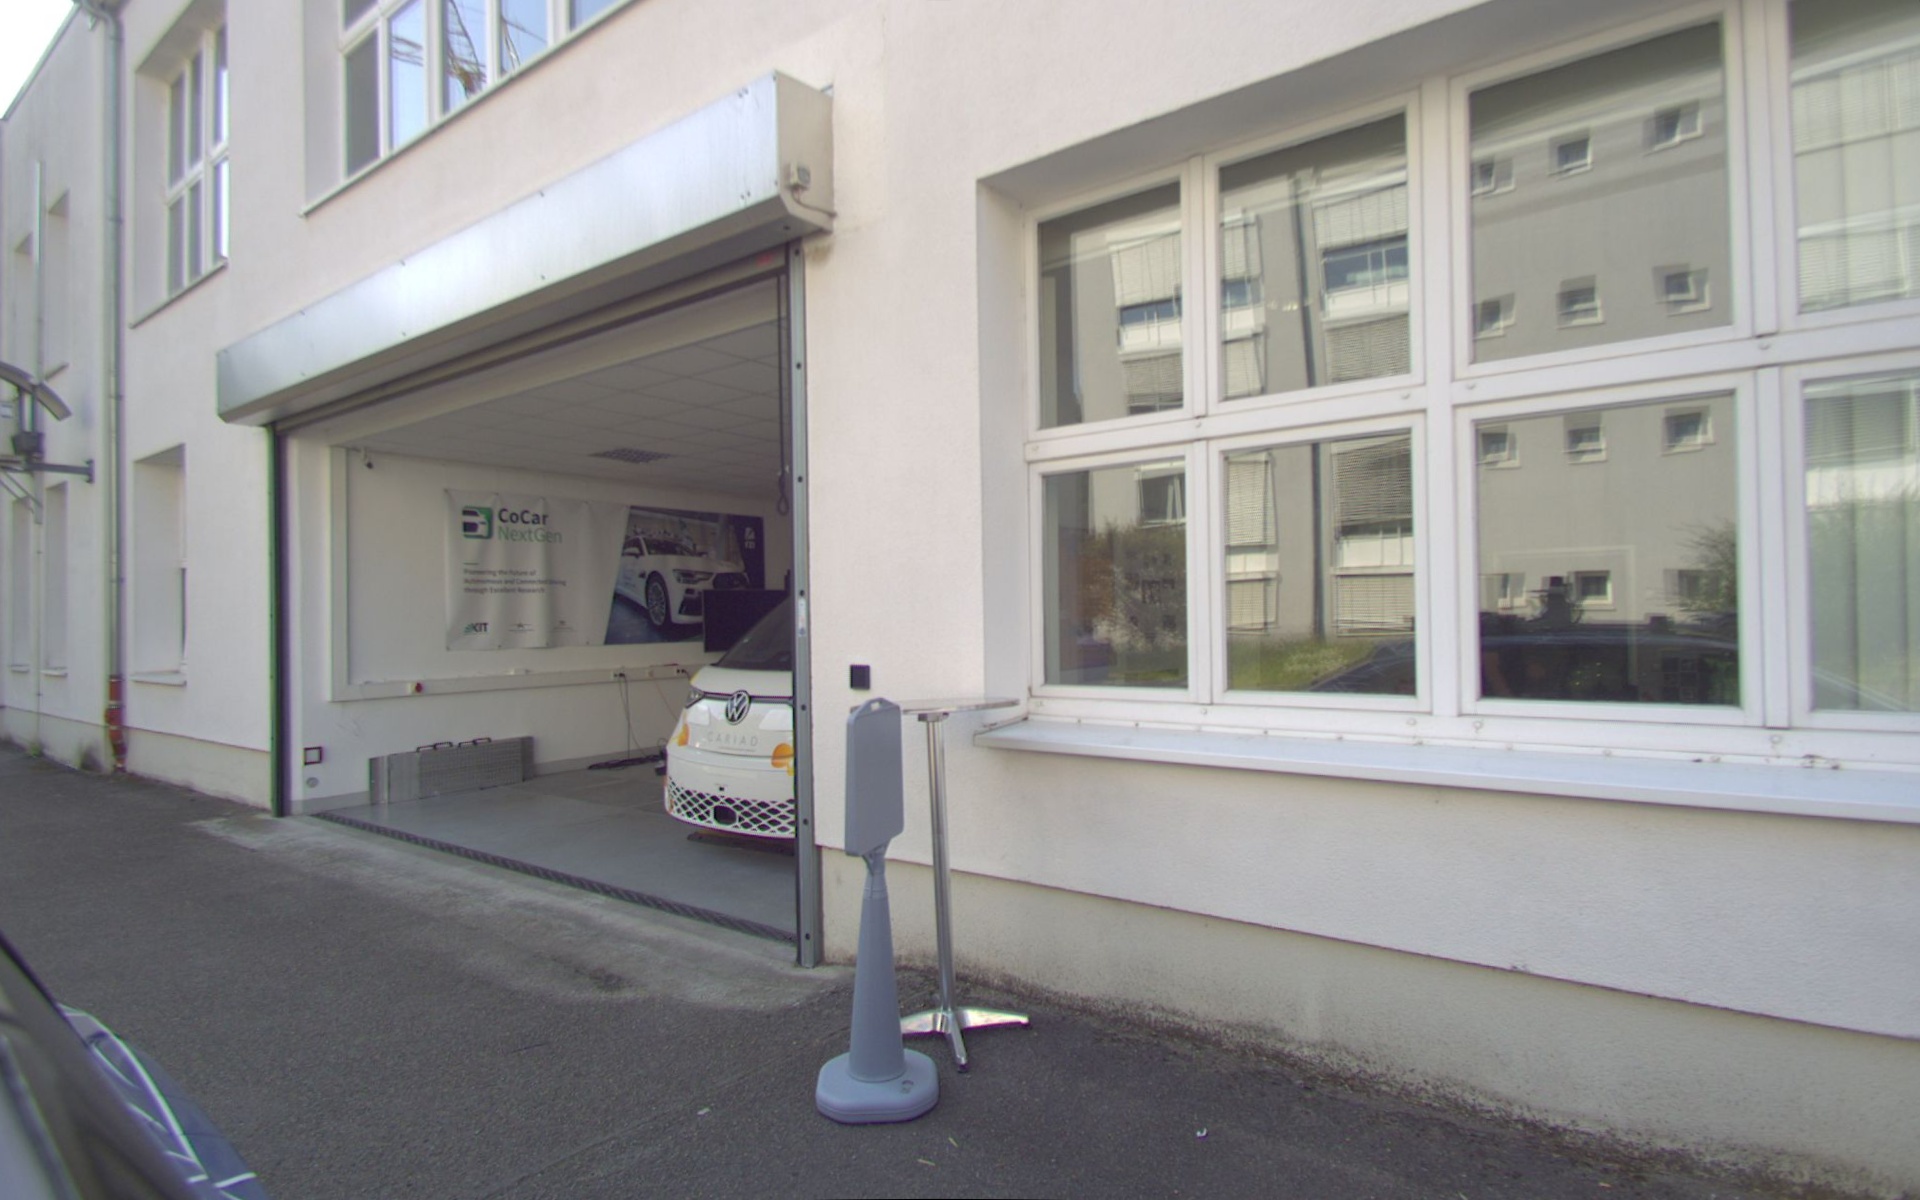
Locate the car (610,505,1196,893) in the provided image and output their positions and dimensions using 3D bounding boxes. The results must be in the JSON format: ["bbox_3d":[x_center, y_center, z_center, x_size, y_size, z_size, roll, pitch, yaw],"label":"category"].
[{"bbox_3d":[-0.095,0.524,8.012,2.052,2.108,4.702,-1,0,37],"label":"car"}]
